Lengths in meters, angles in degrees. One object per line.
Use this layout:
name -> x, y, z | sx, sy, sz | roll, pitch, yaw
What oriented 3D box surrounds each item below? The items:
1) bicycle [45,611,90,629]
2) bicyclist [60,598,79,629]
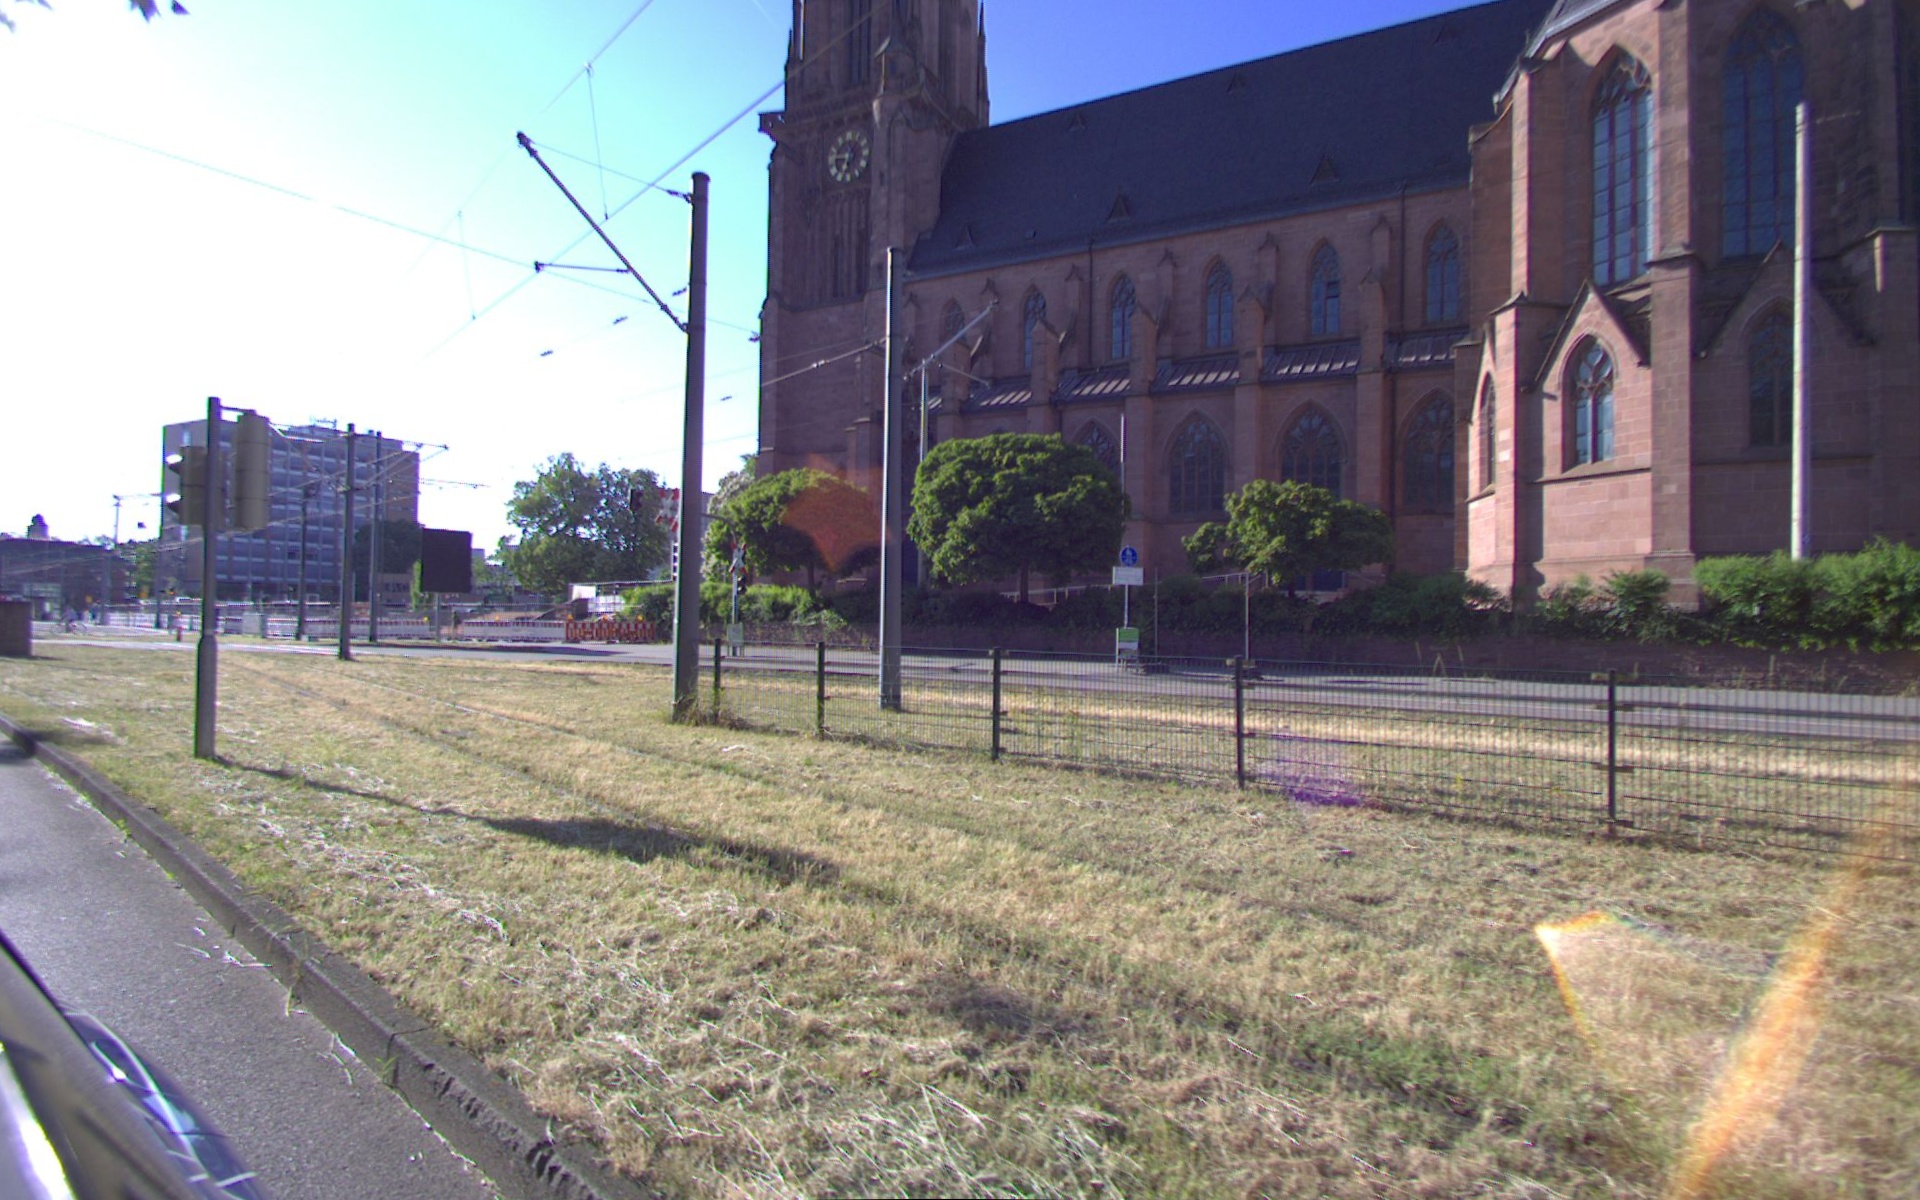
bicycle -> -55.545, 1.236, 63.023 | 2.032, 1.091, 0.612 | -1, 0, -32
bicyclist -> -55.479, 0.838, 63.065 | 0.763, 1.886, 0.612 | -1, 0, -32
